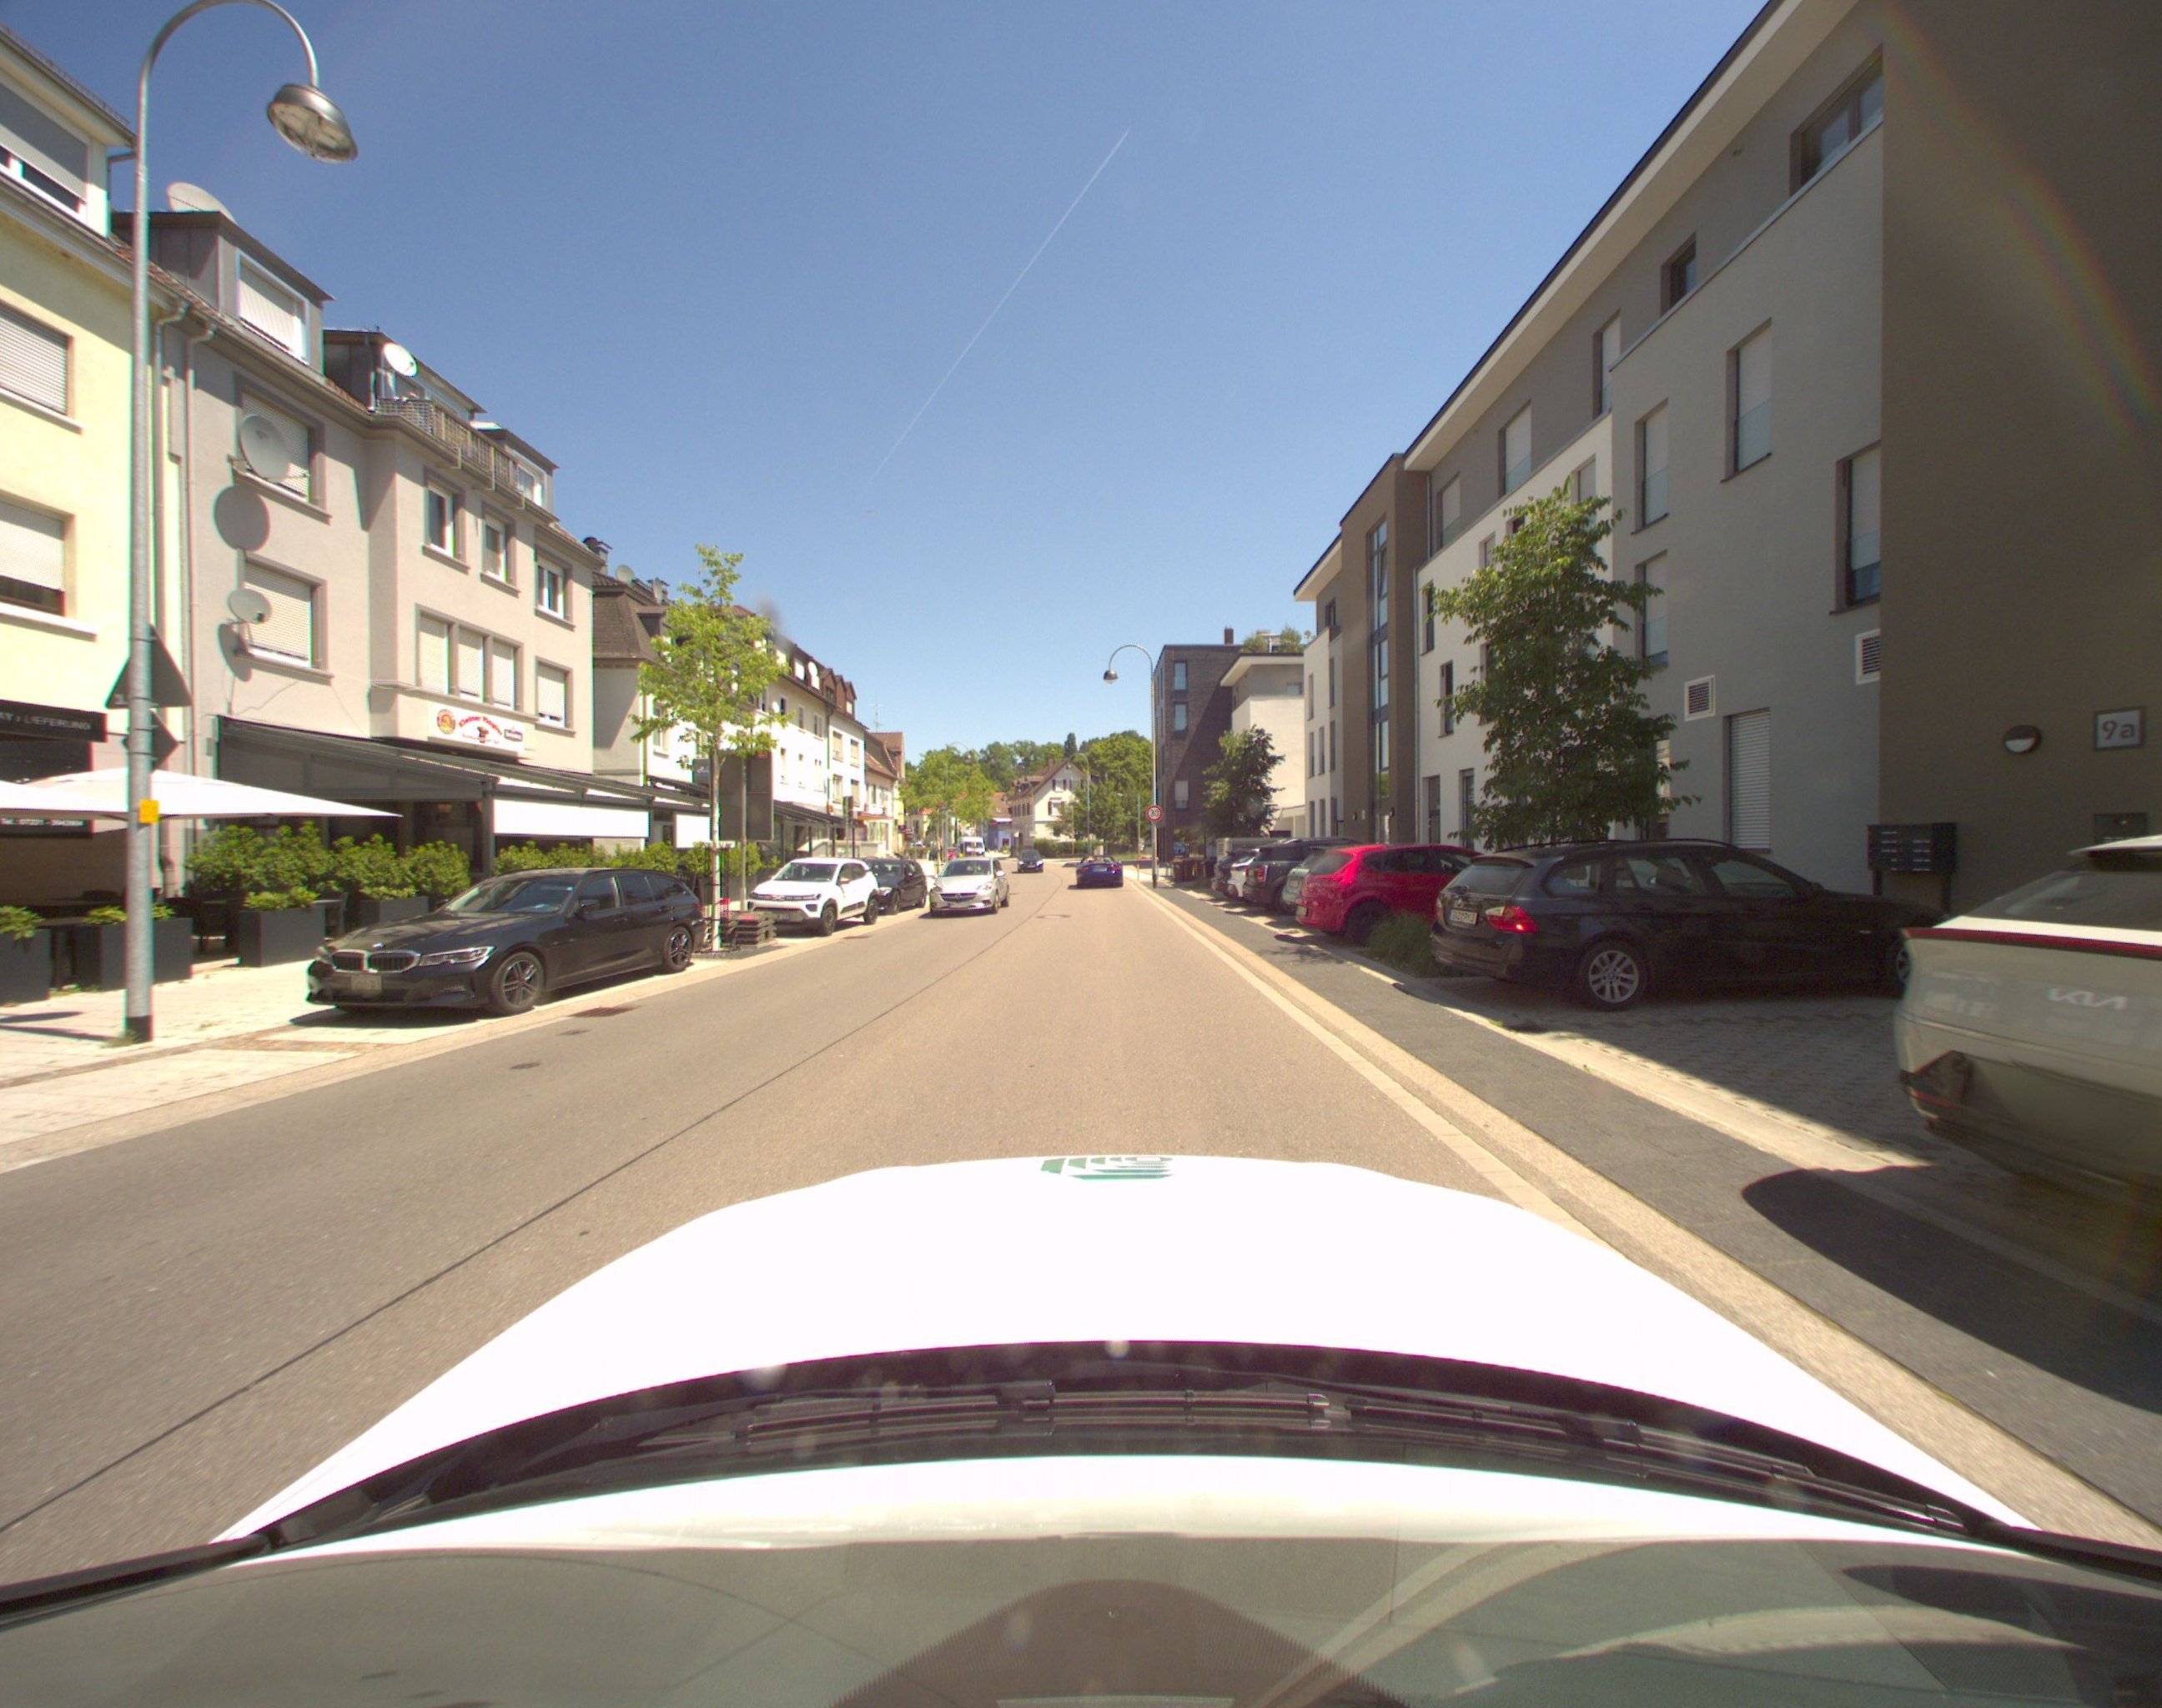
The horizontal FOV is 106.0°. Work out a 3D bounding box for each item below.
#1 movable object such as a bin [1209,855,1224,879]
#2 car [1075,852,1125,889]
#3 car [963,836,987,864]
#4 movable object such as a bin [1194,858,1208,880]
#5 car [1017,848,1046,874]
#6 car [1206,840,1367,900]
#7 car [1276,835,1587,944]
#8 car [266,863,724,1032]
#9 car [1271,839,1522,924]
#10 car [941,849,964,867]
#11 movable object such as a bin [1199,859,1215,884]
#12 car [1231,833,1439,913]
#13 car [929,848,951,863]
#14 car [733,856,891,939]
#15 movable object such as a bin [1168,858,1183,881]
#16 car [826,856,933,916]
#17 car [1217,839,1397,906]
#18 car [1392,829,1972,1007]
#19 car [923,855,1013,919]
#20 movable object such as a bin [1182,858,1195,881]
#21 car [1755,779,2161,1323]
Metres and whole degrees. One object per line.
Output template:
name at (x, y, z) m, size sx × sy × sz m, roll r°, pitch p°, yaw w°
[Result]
movable object such as a bin at (5.478, 0.525, 32.864) m, size 0.493 × 0.929 × 0.623 m, roll -2°, pitch 0°, yaw 2°
car at (0.868, 0.643, 34.308) m, size 1.862 × 1.342 × 4.600 m, roll -2°, pitch 0°, yaw 4°
car at (-9.565, -0.329, 73.314) m, size 1.867 × 2.400 × 4.801 m, roll -1°, pitch 0°, yaw -10°
movable object such as a bin at (5.165, 0.647, 35.208) m, size 0.493 × 0.929 × 0.623 m, roll -3°, pitch 0°, yaw 2°
car at (-3.281, 0.442, 53.806) m, size 1.659 × 1.606 × 3.991 m, roll -3°, pitch 0°, yaw -6°
car at (5.560, 0.425, 22.382) m, size 3.967 × 1.529 × 1.740 m, roll -1°, pitch 0°, yaw 0°
car at (5.205, 0.501, 12.499) m, size 3.958 × 1.408 × 1.856 m, roll -2°, pitch 0°, yaw -1°
car at (-6.418, 0.880, 9.833) m, size 1.826 × 1.429 × 4.788 m, roll 1°, pitch 0°, yaw 4°
car at (5.724, 0.477, 15.122) m, size 3.967 × 1.432 × 1.762 m, roll -1°, pitch 0°, yaw 0°
car at (-12.944, 0.366, 81.946) m, size 1.995 × 1.738 × 3.983 m, roll -1°, pitch 0°, yaw -12°
movable object such as a bin at (4.925, 0.687, 31.839) m, size 0.493 × 0.929 × 0.623 m, roll -3°, pitch 0°, yaw 2°
car at (5.465, 0.392, 17.896) m, size 3.967 × 1.605 × 1.943 m, roll -1°, pitch 0°, yaw 0°
car at (-16.258, 0.177, 93.846) m, size 1.999 × 1.692 × 3.975 m, roll 0°, pitch 0°, yaw -19°
car at (-5.506, 0.824, 17.231) m, size 1.636 × 1.479 × 3.948 m, roll 1°, pitch 1°, yaw 6°
movable object such as a bin at (4.089, 0.665, 35.241) m, size 0.535 × 0.929 × 0.623 m, roll -3°, pitch 0°, yaw 2°
car at (-5.401, 0.801, 22.361) m, size 1.663 × 1.443 × 4.014 m, roll -1°, pitch 0°, yaw 4°
car at (5.559, 0.443, 20.380) m, size 3.967 × 1.529 × 1.943 m, roll -1°, pitch 0°, yaw 0°
car at (5.484, 0.534, 7.848) m, size 4.247 × 1.416 × 1.926 m, roll -1°, pitch 0°, yaw -3°
car at (-2.907, 0.806, 21.814) m, size 1.681 × 1.458 × 4.060 m, roll -3°, pitch 0°, yaw 1°
movable object such as a bin at (4.644, 0.667, 35.211) m, size 0.493 × 0.929 × 0.623 m, roll -3°, pitch 0°, yaw 2°
car at (5.327, 0.521, 2.661) m, size 4.571 × 1.529 × 2.001 m, roll -1°, pitch 0°, yaw 1°
